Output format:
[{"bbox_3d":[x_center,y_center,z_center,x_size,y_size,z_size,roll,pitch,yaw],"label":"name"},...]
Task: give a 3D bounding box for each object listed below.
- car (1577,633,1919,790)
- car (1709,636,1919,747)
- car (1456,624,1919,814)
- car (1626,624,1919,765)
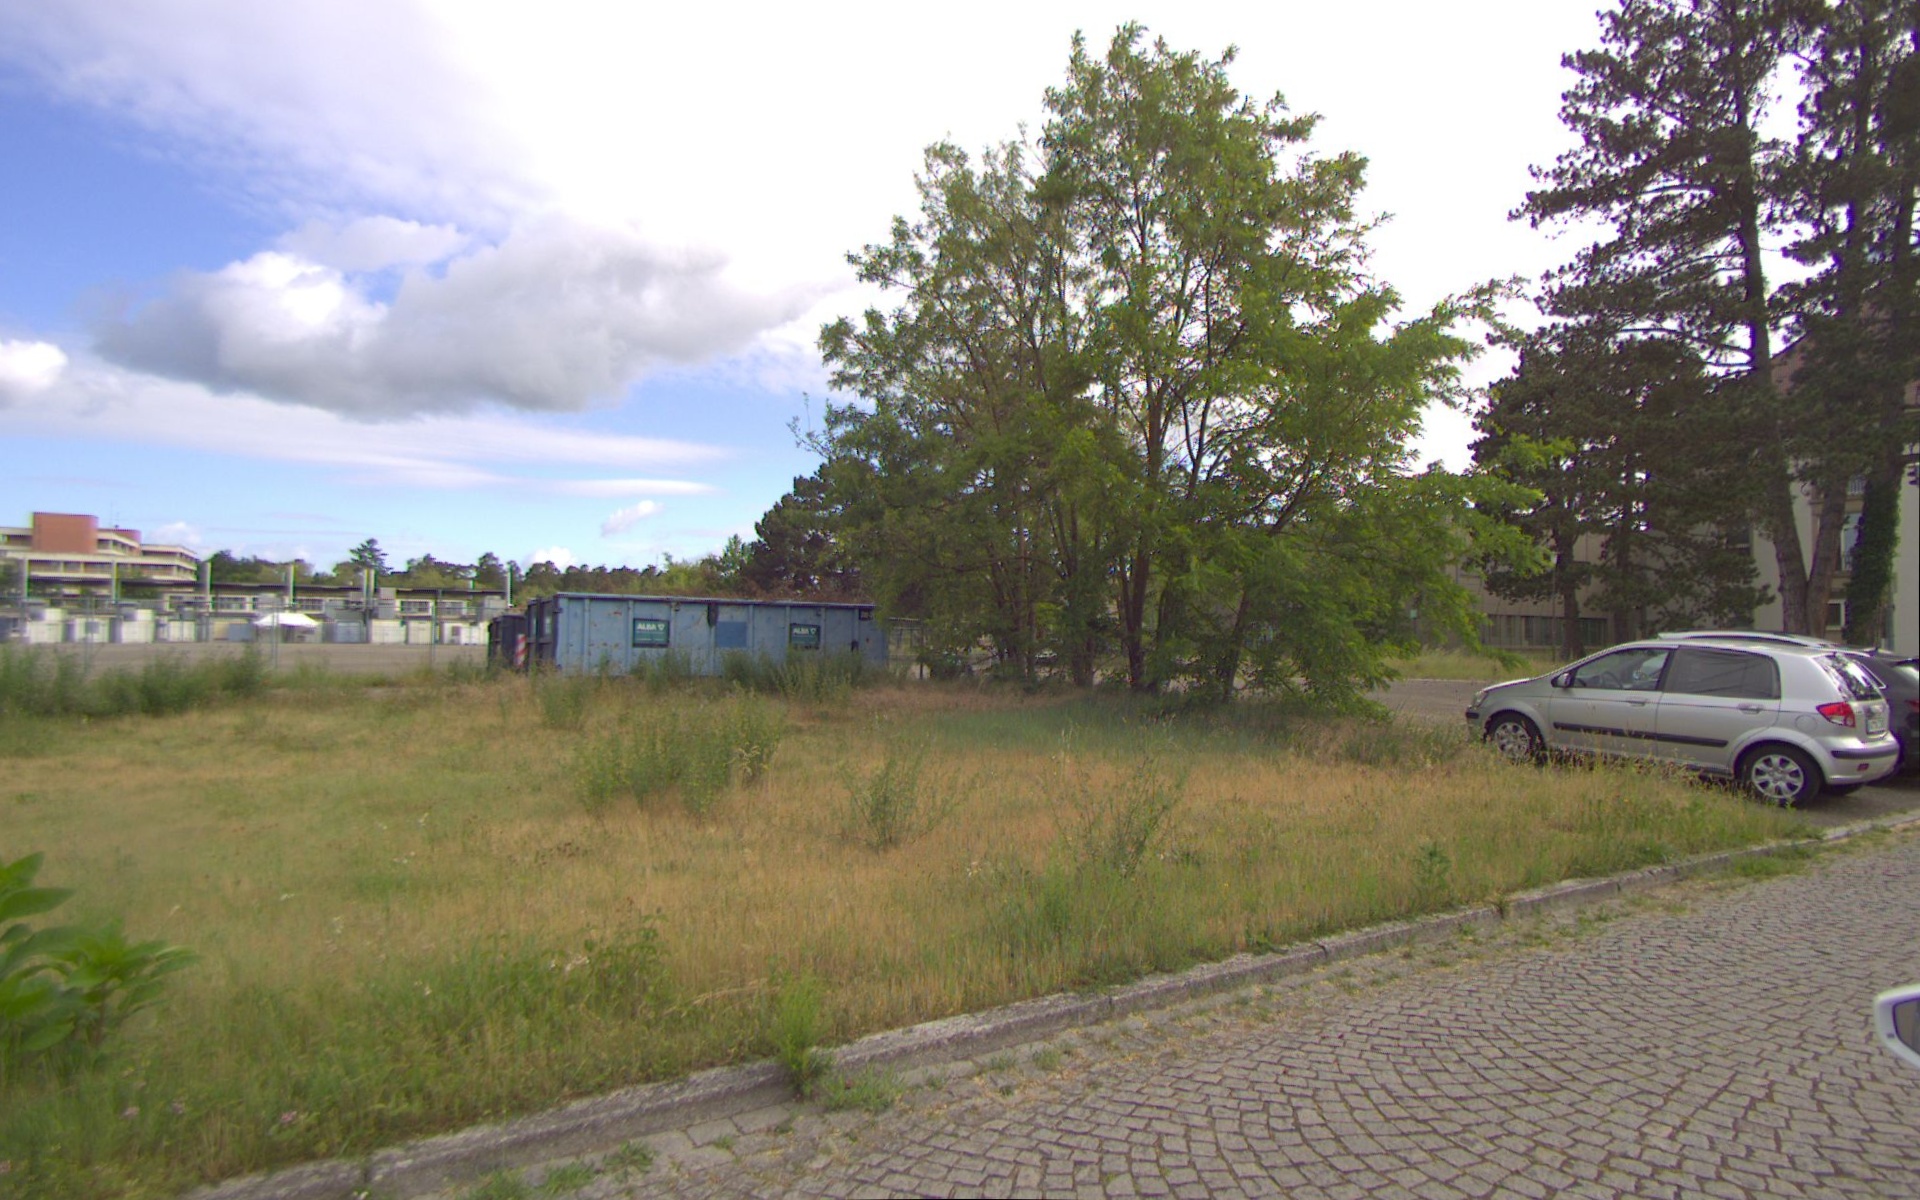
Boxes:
[{"bbox_3d":[9.732,1.216,11.979,1.566,1.448,3.723,2,0,-34],"label":"car"},{"bbox_3d":[13.960,1.364,15.165,1.632,1.440,3.926,2,0,-31],"label":"car"},{"bbox_3d":[7.504,1.089,10.706,1.566,1.499,3.680,2,0,-34],"label":"car"},{"bbox_3d":[11.788,1.225,13.917,1.633,1.584,3.923,2,0,-34],"label":"car"}]
